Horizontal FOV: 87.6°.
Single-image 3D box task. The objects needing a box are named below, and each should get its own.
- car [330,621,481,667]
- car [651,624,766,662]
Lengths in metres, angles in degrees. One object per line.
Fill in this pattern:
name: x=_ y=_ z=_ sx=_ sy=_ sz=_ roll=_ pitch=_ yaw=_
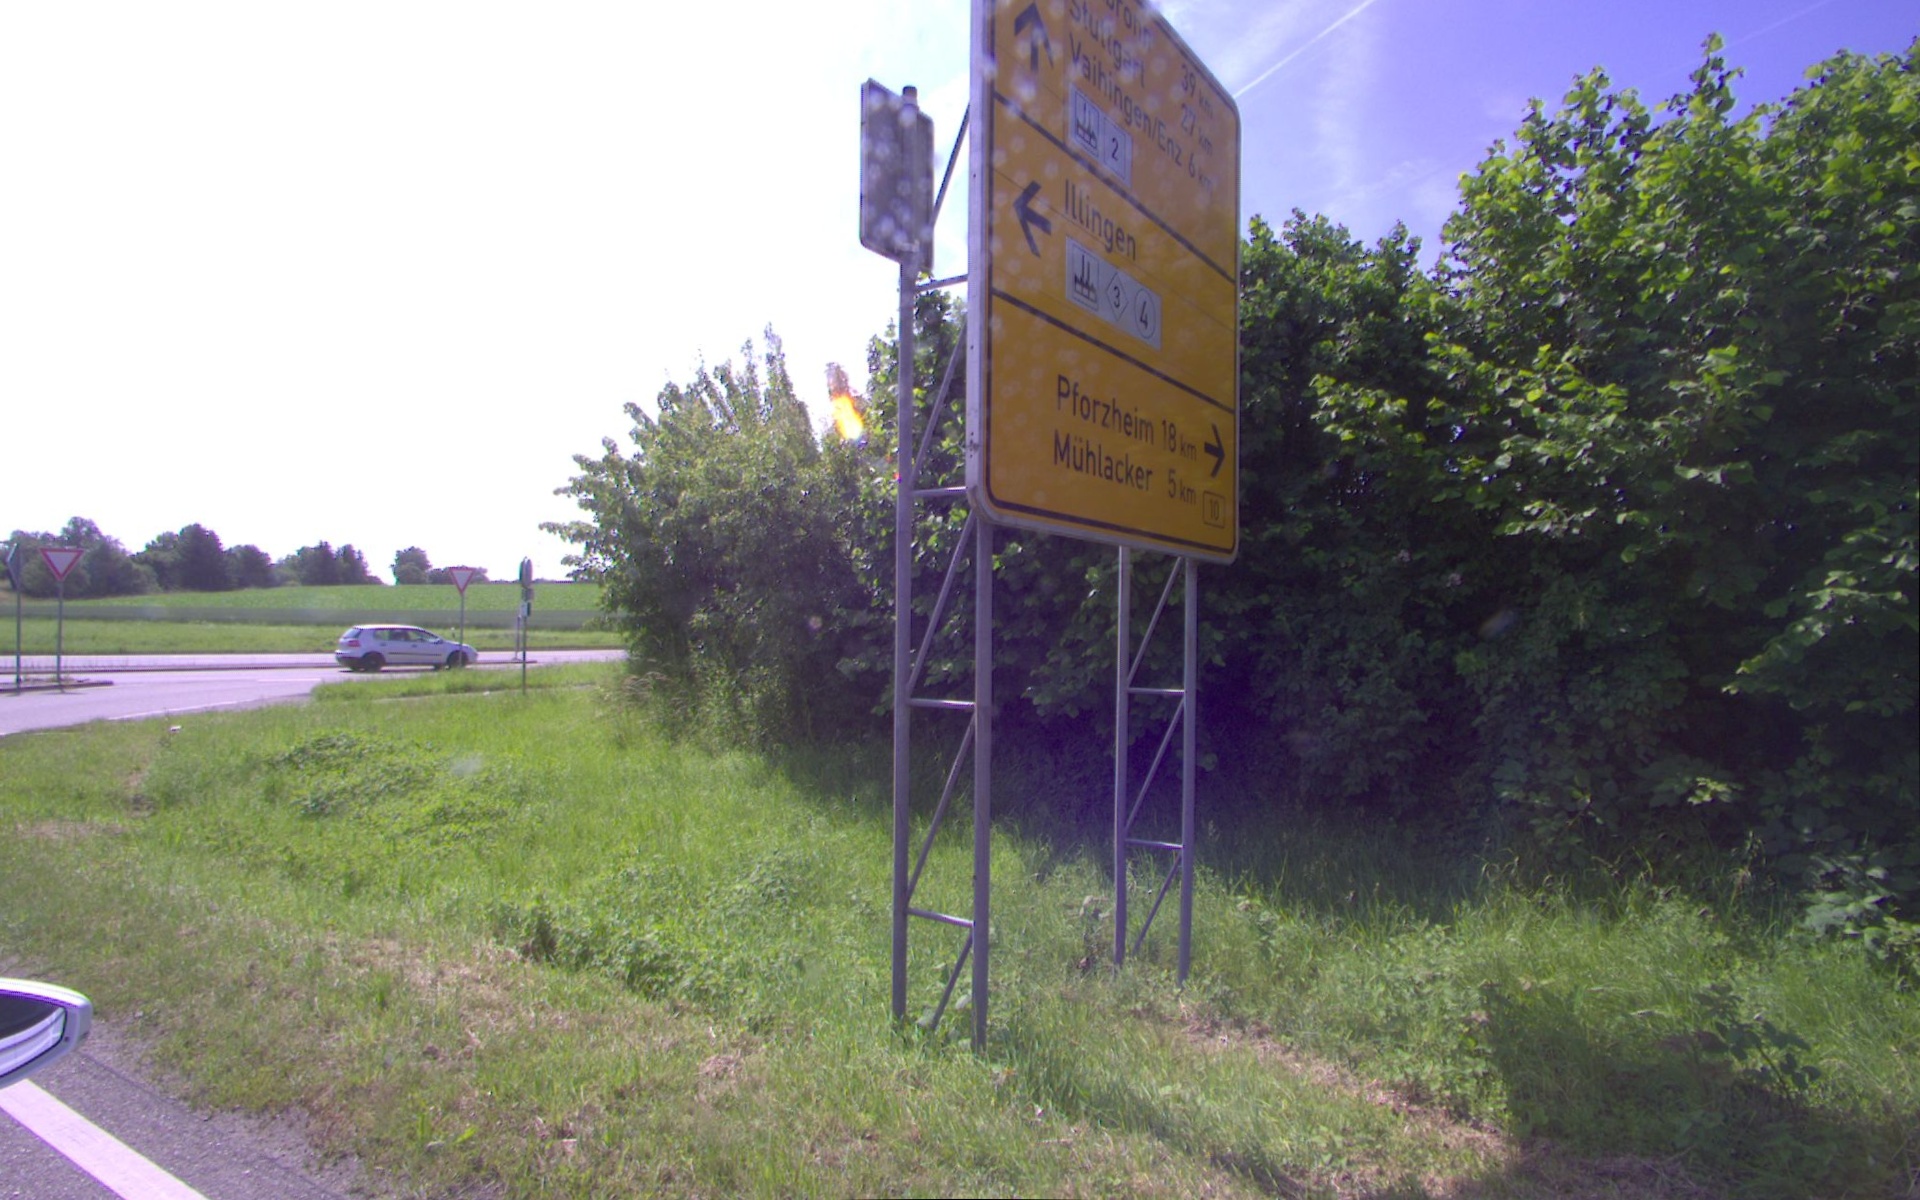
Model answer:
car: x=-18.252 y=1.435 z=33.071 sx=1.777 sy=1.434 sz=4.012 roll=-2 pitch=-3 yaw=44
car: x=-10.258 y=1.739 z=40.993 sx=4.217 sy=1.479 sz=1.793 roll=2 pitch=-2 yaw=-42
